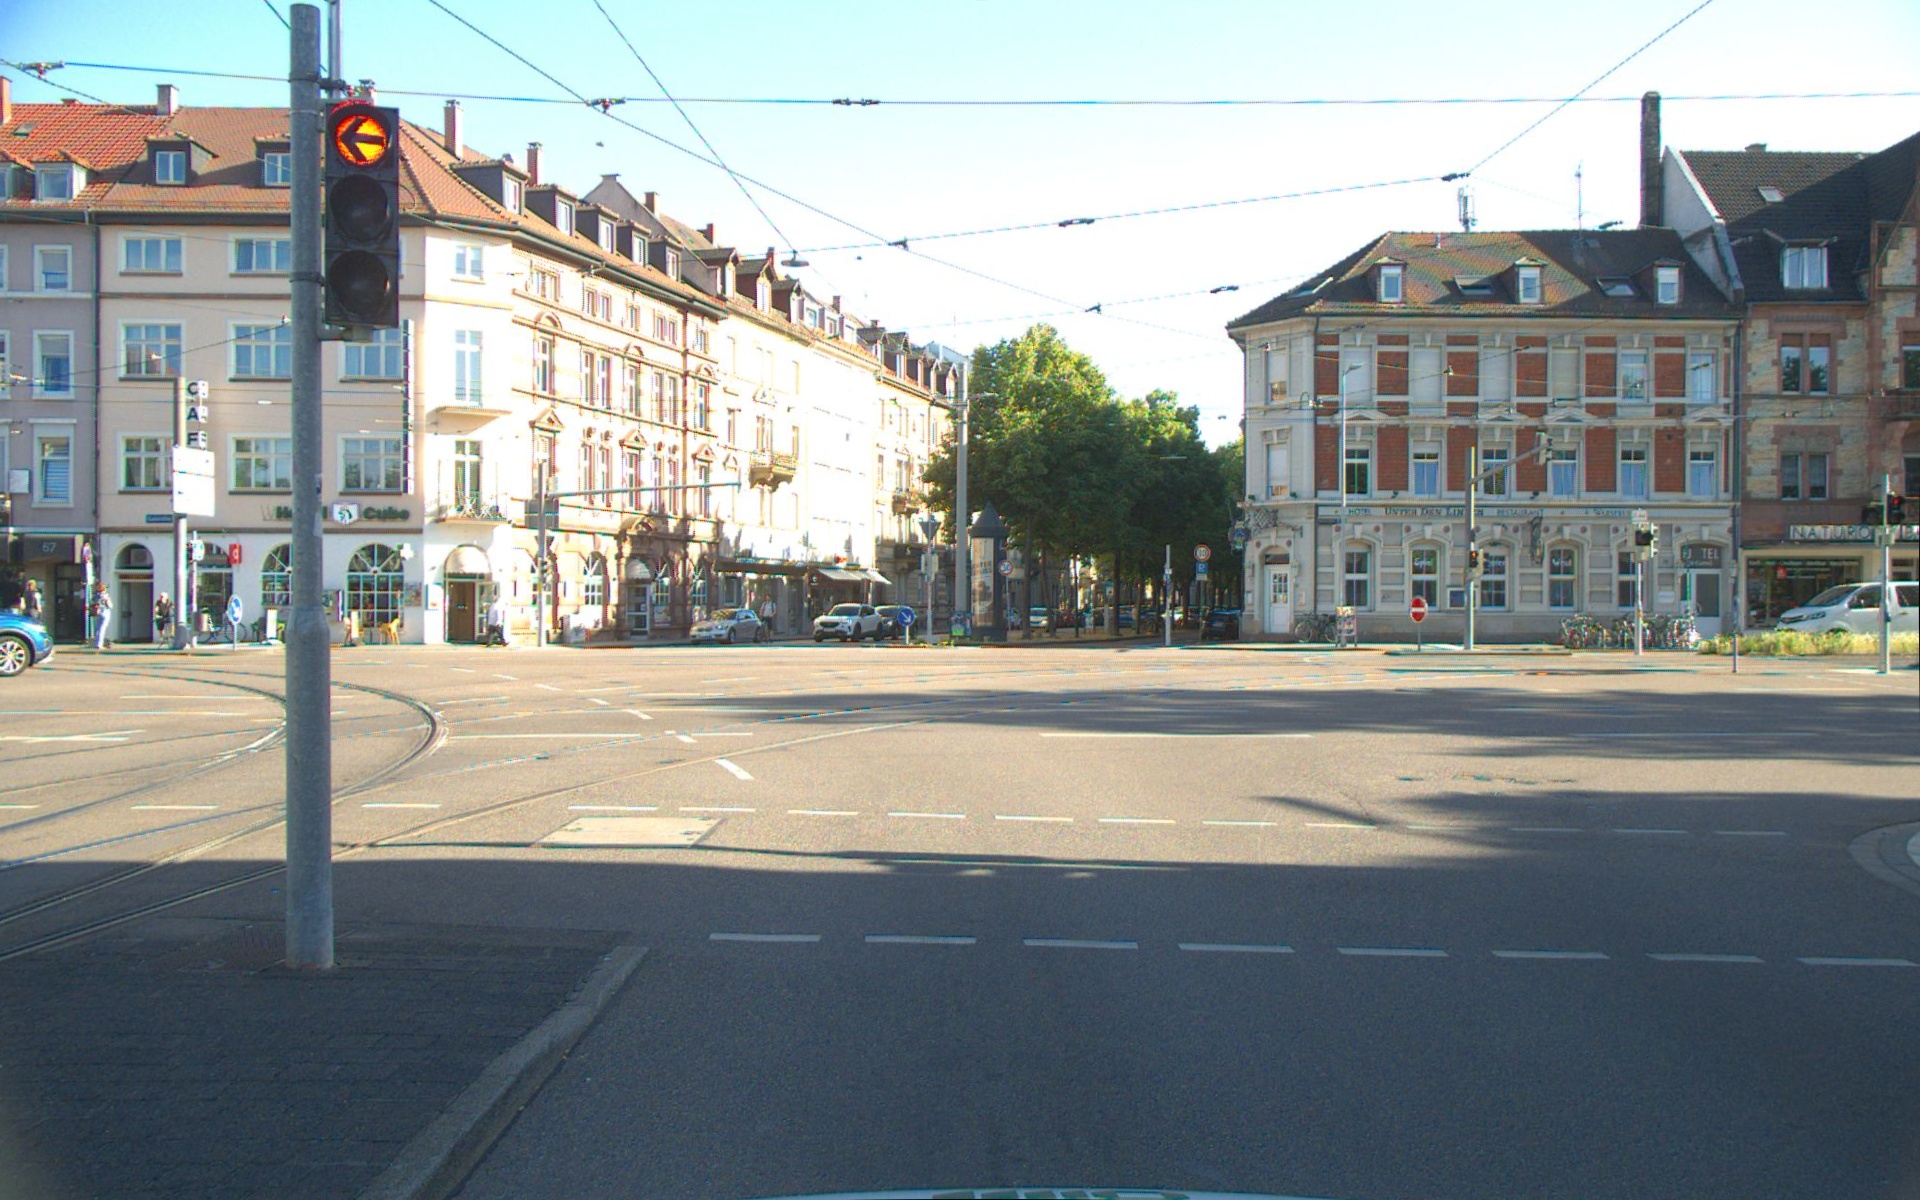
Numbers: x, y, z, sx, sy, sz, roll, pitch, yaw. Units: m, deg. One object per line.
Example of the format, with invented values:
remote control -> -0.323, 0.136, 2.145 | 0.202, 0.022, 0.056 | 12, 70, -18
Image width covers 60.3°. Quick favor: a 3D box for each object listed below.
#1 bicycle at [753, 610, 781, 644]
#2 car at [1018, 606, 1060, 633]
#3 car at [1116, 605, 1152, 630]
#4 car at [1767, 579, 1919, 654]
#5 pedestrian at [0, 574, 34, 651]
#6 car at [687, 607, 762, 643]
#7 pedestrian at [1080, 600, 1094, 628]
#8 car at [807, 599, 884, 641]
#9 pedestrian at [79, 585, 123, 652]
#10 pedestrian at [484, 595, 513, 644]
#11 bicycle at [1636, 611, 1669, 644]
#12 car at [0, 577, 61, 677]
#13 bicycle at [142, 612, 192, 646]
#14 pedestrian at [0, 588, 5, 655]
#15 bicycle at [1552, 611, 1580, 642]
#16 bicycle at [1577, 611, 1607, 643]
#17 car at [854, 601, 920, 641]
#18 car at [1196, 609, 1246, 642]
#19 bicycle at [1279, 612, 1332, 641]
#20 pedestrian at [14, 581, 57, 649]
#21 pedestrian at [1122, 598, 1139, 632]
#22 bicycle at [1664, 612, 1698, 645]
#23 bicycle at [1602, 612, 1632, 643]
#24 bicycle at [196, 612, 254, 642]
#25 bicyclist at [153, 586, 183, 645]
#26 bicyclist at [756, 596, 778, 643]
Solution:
bicycle -> -7.568, 1.052, 64.956 | 0.553, 1.276, 1.558 | 1, 0, 14
car -> 4.923, 1.184, 102.709 | 1.764, 1.603, 3.893 | 1, 0, 15
car -> 12.308, 1.219, 116.791 | 1.951, 1.713, 4.003 | 1, 0, 15
car -> 23.839, 0.420, 42.686 | 5.095, 1.886, 1.999 | 0, 0, -3
pedestrian -> -22.888, 0.301, 40.044 | 0.516, 1.854, 0.676 | 1, -1, -1
car -> -9.463, 0.984, 66.825 | 1.624, 1.398, 3.894 | 1, 0, 14
pedestrian -> 9.415, 1.008, 122.426 | 0.923, 2.049, 0.827 | 1, -1, 13
car -> -4.612, 0.804, 67.174 | 1.764, 1.613, 4.162 | 1, 0, 16
pedestrian -> -21.278, 0.450, 40.986 | 0.655, 1.622, 0.815 | 1, -1, -1
pedestrian -> -15.819, 0.677, 56.739 | 0.556, 1.671, 0.792 | 1, -1, 22
bicycle -> 22.463, 0.891, 53.682 | 0.749, 1.025, 2.221 | 1, 0, 17
car -> -16.794, 0.417, 26.196 | 1.800, 1.602, 4.169 | 1, 0, 44
bicycle -> -24.878, 0.894, 51.923 | 0.608, 1.048, 1.755 | 1, 0, 4
pedestrian -> -24.331, 0.536, 41.265 | 0.561, 1.677, 0.727 | 1, -1, -1
bicycle -> 19.799, 0.858, 54.048 | 0.749, 0.979, 2.211 | 1, 0, 17
bicycle -> 20.553, 0.871, 53.811 | 0.749, 0.985, 2.211 | 1, 0, 17
car -> -3.200, 0.929, 73.561 | 1.786, 1.715, 3.877 | 1, 0, 16
car -> 13.082, 1.270, 82.704 | 1.719, 1.583, 4.001 | 1, 0, 19
bicycle -> 11.970, 0.904, 57.299 | 1.764, 0.979, 0.604 | 1, 0, 14
pedestrian -> -22.926, 0.373, 41.024 | 0.571, 1.677, 0.840 | 1, -1, -1
pedestrian -> 10.502, 0.912, 102.141 | 0.941, 2.049, 0.918 | 1, -1, 0
bicycle -> 23.311, 0.904, 53.498 | 0.775, 1.033, 2.211 | 1, 0, 17
bicycle -> 21.332, 0.884, 53.718 | 0.749, 1.001, 2.211 | 1, 0, 17
bicycle -> -25.105, 0.913, 56.513 | 1.666, 1.000, 0.611 | 1, 0, -1
bicyclist -> -24.872, 0.495, 51.942 | 0.608, 1.822, 0.615 | 1, -1, 4
bicyclist -> -7.571, 0.772, 64.965 | 0.553, 1.835, 0.915 | 1, -1, 14
